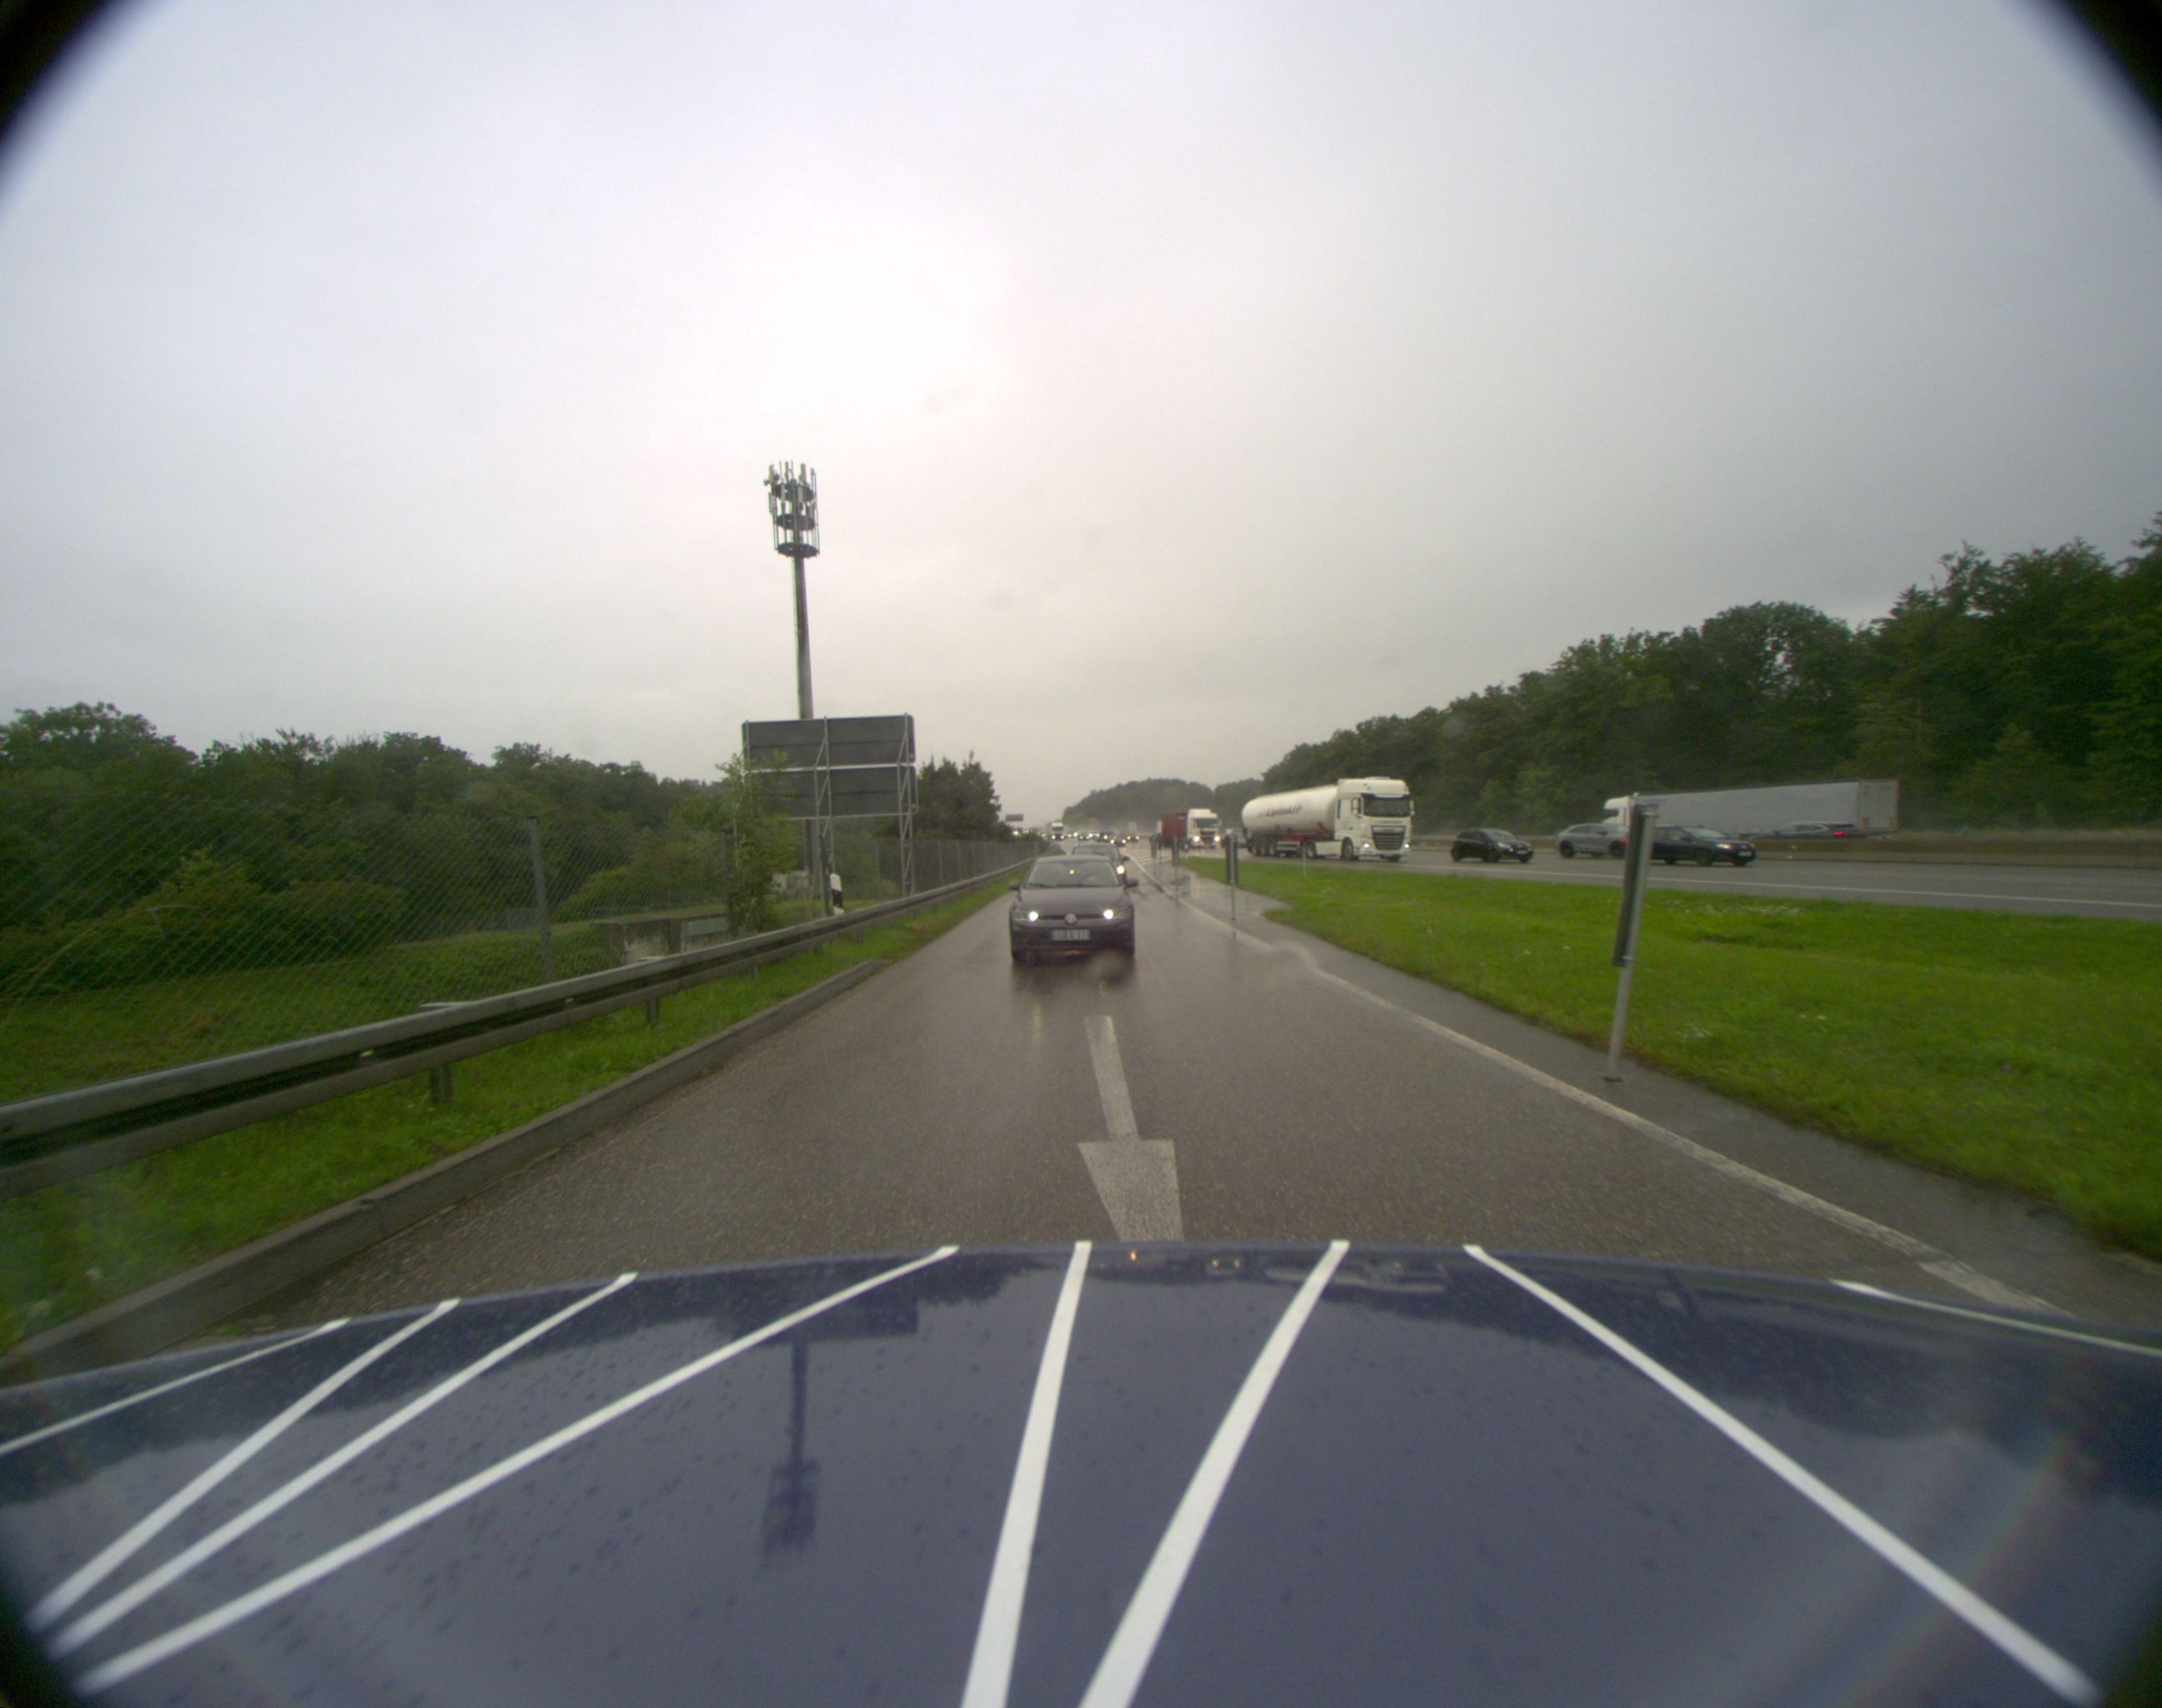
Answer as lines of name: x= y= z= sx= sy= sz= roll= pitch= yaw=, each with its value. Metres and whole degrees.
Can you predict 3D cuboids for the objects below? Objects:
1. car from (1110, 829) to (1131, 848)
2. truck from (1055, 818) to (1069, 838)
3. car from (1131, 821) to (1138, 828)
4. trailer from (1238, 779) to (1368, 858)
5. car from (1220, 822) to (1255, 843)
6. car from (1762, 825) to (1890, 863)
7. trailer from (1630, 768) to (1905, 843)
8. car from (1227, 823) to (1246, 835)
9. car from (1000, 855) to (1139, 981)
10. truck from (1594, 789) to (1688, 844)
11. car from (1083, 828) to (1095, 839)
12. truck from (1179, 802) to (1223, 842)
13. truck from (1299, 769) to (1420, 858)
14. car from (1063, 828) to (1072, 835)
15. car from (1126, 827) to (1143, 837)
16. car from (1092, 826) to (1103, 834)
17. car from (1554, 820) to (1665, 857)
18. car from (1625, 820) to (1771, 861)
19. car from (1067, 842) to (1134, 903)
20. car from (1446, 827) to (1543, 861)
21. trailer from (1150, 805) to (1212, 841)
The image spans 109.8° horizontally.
car: x=4.901 y=-1.992 z=94.610 sx=1.918 sy=2.003 sz=3.995 roll=-7 pitch=4 yaw=-5
truck: x=-4.235 y=-5.715 z=167.125 sx=2.597 sy=4.121 sz=5.228 roll=-5 pitch=2 yaw=-2
car: x=17.087 y=-9.555 z=243.727 sx=1.998 sy=2.154 sz=4.274 roll=-4 pitch=3 yaw=1
trailer: x=12.428 y=-1.923 z=44.053 sx=2.771 sy=4.003 sz=11.030 roll=-1 pitch=1 yaw=-9
car: x=15.526 y=-2.145 z=75.661 sx=2.000 sy=2.002 sz=4.108 roll=-2 pitch=2 yaw=-9
car: x=33.328 y=-0.405 z=34.120 sx=1.648 sy=1.356 sz=3.719 roll=-8 pitch=0 yaw=-11
trailer: x=42.174 y=-2.713 z=48.036 sx=2.733 sy=3.518 sz=14.048 roll=-6 pitch=1 yaw=-9
car: x=28.832 y=-4.658 z=140.698 sx=2.000 sy=2.003 sz=4.477 roll=-4 pitch=3 yaw=-8
car: x=-0.135 y=0.805 z=11.661 sx=1.670 sy=1.395 sz=4.260 roll=-3 pitch=1 yaw=0
truck: x=40.893 y=-2.661 z=55.665 sx=2.723 sy=3.514 sz=4.758 roll=-6 pitch=1 yaw=-9
car: x=1.646 y=-4.218 z=155.208 sx=1.918 sy=2.003 sz=3.995 roll=-7 pitch=4 yaw=-5
truck: x=11.915 y=-3.158 z=75.865 sx=2.698 sy=3.637 sz=5.320 roll=-5 pitch=3 yaw=-8
truck: x=13.499 y=-1.913 z=37.415 sx=2.759 sy=3.986 sz=6.501 roll=-1 pitch=2 yaw=-9
car: x=-3.506 y=-5.677 z=193.940 sx=1.775 sy=1.669 sz=3.996 roll=-4 pitch=3 yaw=-6
car: x=8.876 y=-3.669 z=125.804 sx=1.789 sy=1.550 sz=4.094 roll=-2 pitch=0 yaw=-12
car: x=3.599 y=-5.309 z=168.202 sx=1.797 sy=1.499 sz=3.996 roll=-1 pitch=1 yaw=-9
car: x=25.444 y=-0.778 z=36.790 sx=1.824 sy=1.659 sz=4.399 roll=0 pitch=2 yaw=-9
car: x=22.984 y=-0.513 z=28.529 sx=1.824 sy=1.406 sz=4.119 roll=-1 pitch=1 yaw=-9
car: x=0.627 y=0.496 z=23.837 sx=1.810 sy=1.533 sz=3.999 roll=-5 pitch=2 yaw=2
car: x=18.085 y=-0.478 z=33.446 sx=1.823 sy=1.365 sz=3.997 roll=-1 pitch=2 yaw=-6
trailer: x=10.774 y=-3.352 z=84.095 sx=2.692 sy=3.486 sz=15.109 roll=-5 pitch=2 yaw=-8
